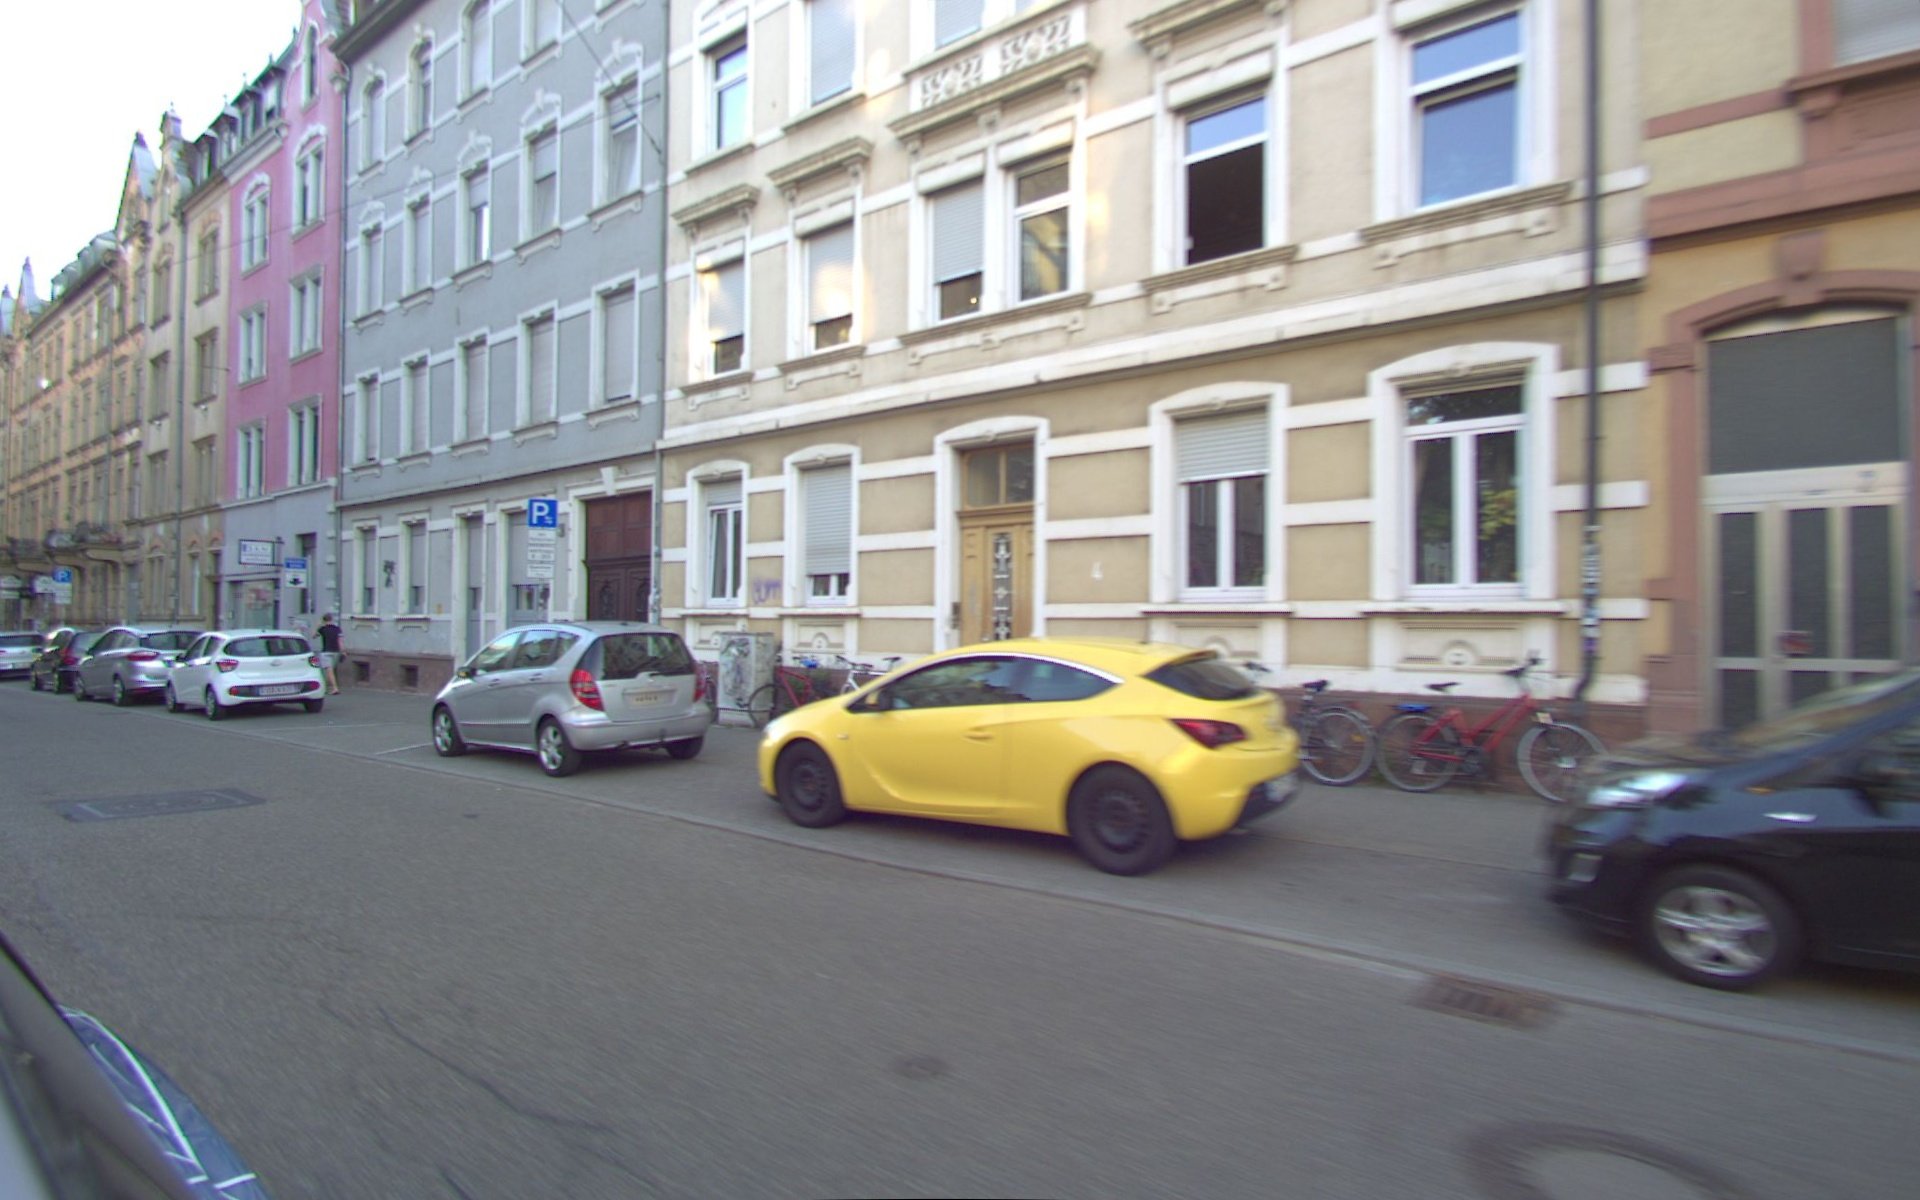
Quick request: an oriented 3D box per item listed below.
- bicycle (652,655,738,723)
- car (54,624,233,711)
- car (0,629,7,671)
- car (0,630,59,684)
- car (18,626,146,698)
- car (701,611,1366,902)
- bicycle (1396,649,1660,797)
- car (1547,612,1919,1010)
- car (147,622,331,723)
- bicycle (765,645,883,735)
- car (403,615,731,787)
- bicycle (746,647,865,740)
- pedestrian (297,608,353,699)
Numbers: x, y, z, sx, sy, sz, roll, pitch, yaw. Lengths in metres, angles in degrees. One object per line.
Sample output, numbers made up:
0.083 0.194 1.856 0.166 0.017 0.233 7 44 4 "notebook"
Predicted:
-4.076 1.345 15.531 1.462 0.984 0.396 -2 -5 36 "bicycle"
-17.310 1.351 21.389 4.664 1.605 1.816 -2 0 36 "car"
-36.458 1.902 36.959 4.274 1.486 1.737 -2 3 38 "car"
-29.427 1.739 31.240 4.054 1.486 1.736 -2 3 40 "car"
-22.062 1.488 25.390 4.052 1.605 1.736 -2 0 39 "car"
0.326 0.910 7.669 4.793 1.537 1.822 -2 0 37 "car"
4.666 0.957 8.390 1.831 1.078 0.655 -1 -2 37 "bicycle"
4.688 0.808 4.223 3.734 1.502 1.714 -1 -1 35 "car"
-13.132 1.231 18.364 3.923 1.588 1.736 -2 0 39 "car"
-1.874 1.189 13.769 1.862 1.149 0.475 -2 -3 40 "bicycle"
-4.668 1.025 11.739 4.142 1.605 1.782 -2 0 40 "car"
-2.085 1.209 13.505 1.862 1.149 0.475 -2 -3 40 "bicycle"
-14.104 1.176 22.482 0.833 1.964 0.840 -2 -3 42 "pedestrian"
